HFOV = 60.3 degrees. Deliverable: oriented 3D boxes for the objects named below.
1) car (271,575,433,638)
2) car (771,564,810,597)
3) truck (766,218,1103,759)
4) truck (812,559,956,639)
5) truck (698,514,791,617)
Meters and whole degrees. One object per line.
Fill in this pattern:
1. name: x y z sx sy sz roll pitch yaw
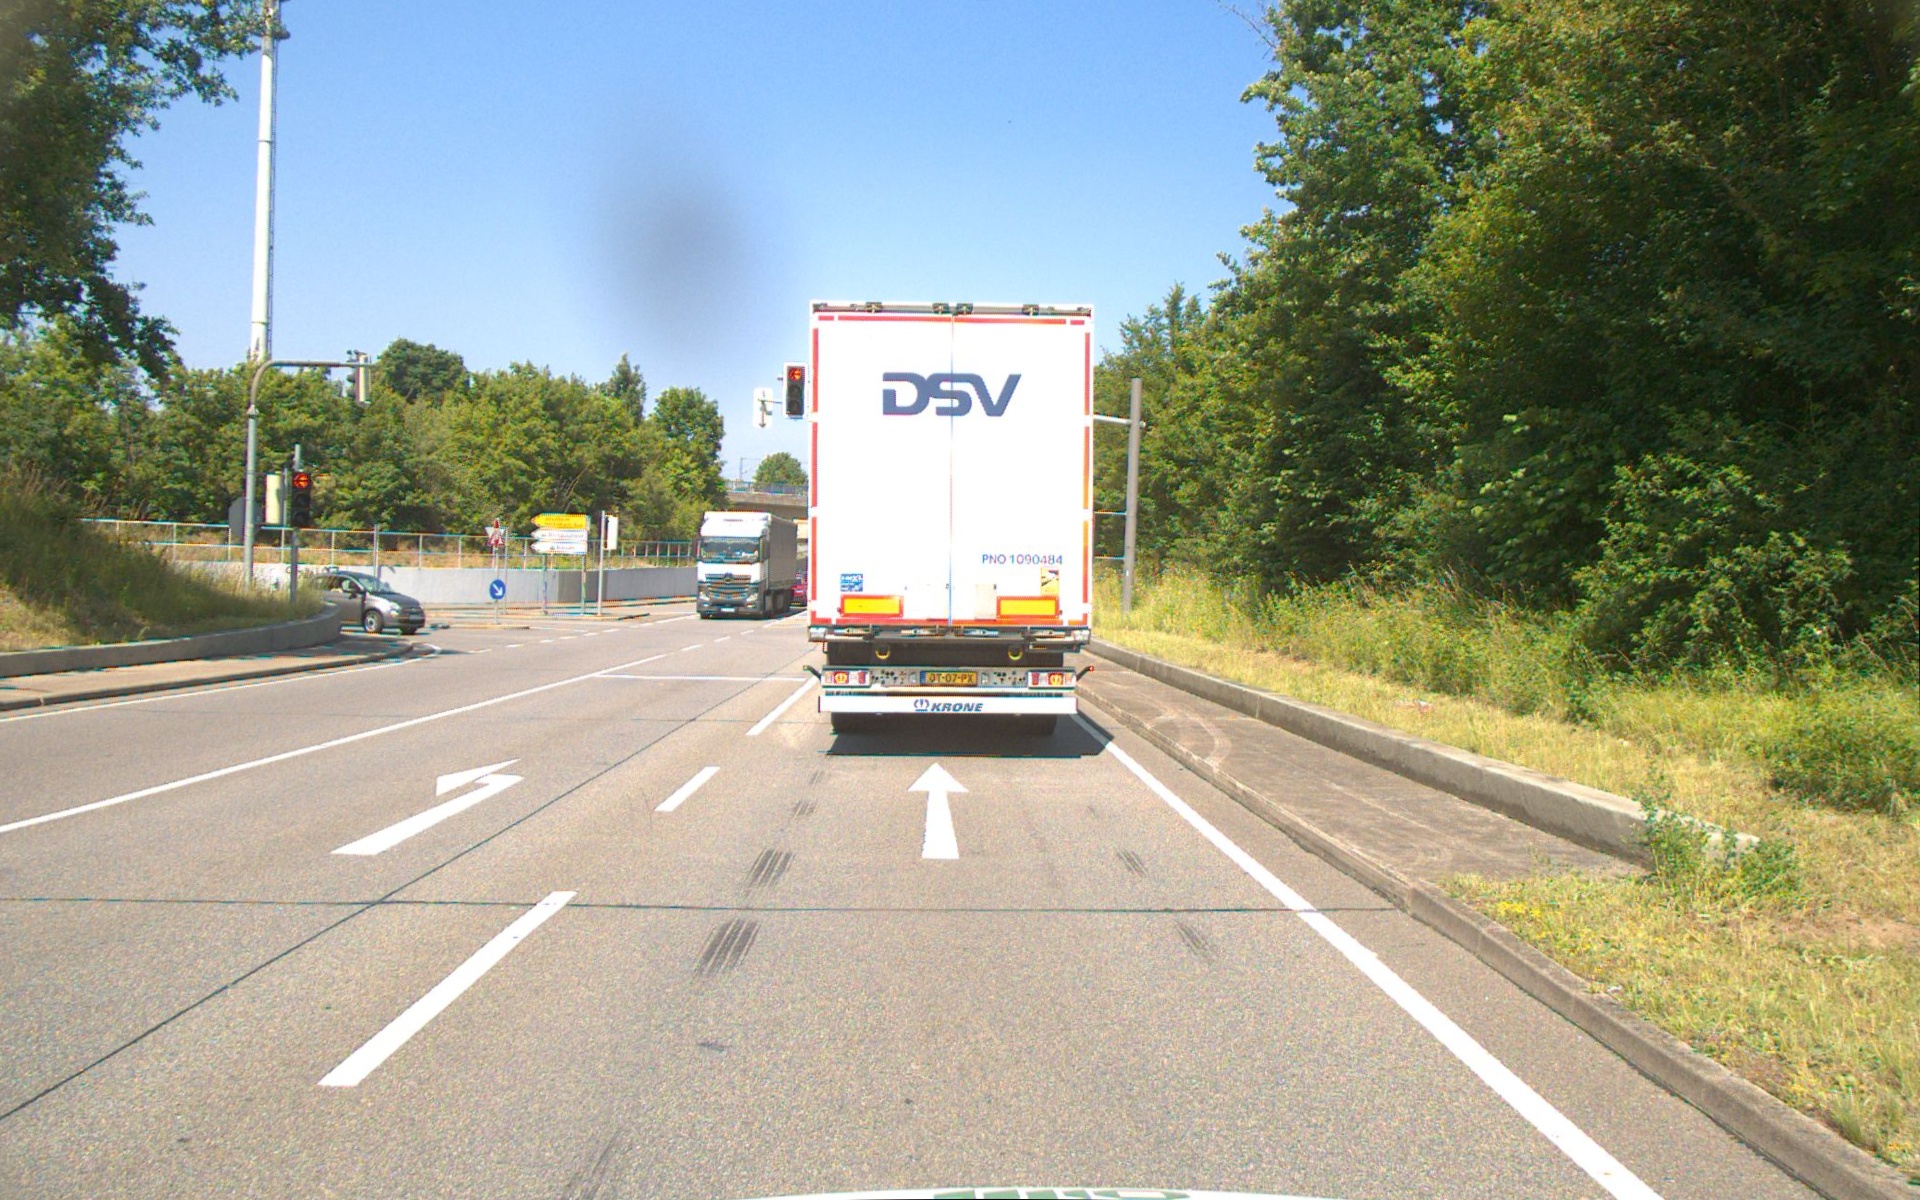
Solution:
1. car: -15.311 0.150 41.708 3.512 1.495 1.593 1 0 11
2. car: -8.655 -1.016 84.620 1.711 1.654 3.702 0 1 -1
3. truck: -0.467 -0.996 19.273 2.891 4.648 9.857 1 0 -3
4. truck: -2.490 -0.050 56.683 2.650 2.543 6.433 1 0 20
5. truck: -8.593 -1.396 67.386 2.305 3.815 12.624 0 1 -1
